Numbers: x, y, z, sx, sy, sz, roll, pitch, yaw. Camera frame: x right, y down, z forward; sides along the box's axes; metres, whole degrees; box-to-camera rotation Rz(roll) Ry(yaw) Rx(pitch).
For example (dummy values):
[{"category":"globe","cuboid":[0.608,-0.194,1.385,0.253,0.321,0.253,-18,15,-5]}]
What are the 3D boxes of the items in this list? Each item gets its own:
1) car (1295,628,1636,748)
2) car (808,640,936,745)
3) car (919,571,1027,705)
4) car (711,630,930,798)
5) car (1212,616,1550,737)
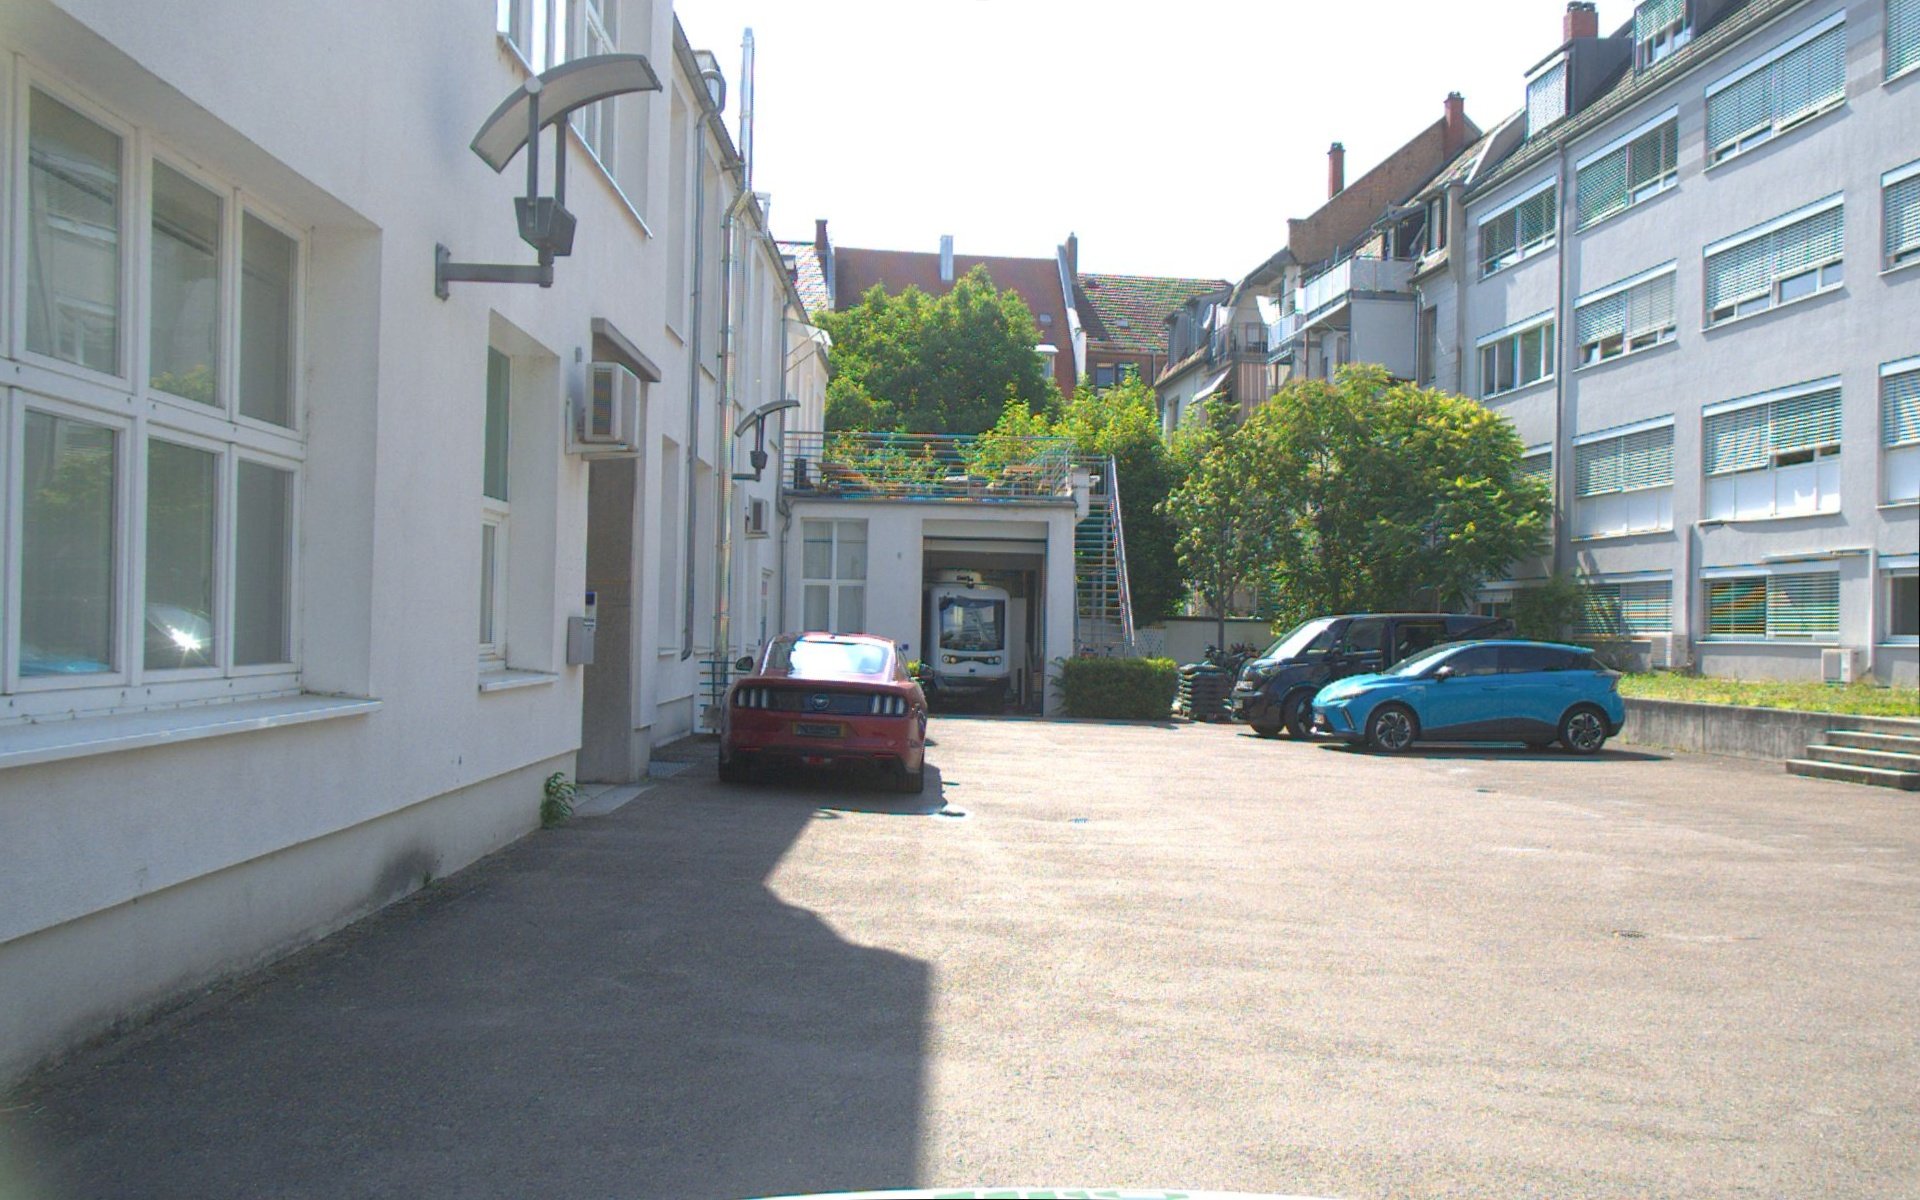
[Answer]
[{"category":"car","cuboid":[7.001,1.195,23.199,4.145,1.559,1.998,0,0,-4]},{"category":"car","cuboid":[-1.152,1.226,23.001,1.581,1.318,3.758,0,-1,0]},{"category":"car","cuboid":[0.238,0.839,35.937,2.130,2.653,6.733,0,-2,0]},{"category":"car","cuboid":[-1.233,1.007,16.086,1.814,1.343,3.998,2,-1,-1]},{"category":"car","cuboid":[6.688,1.162,26.448,4.866,1.798,2.089,0,0,-13]}]
